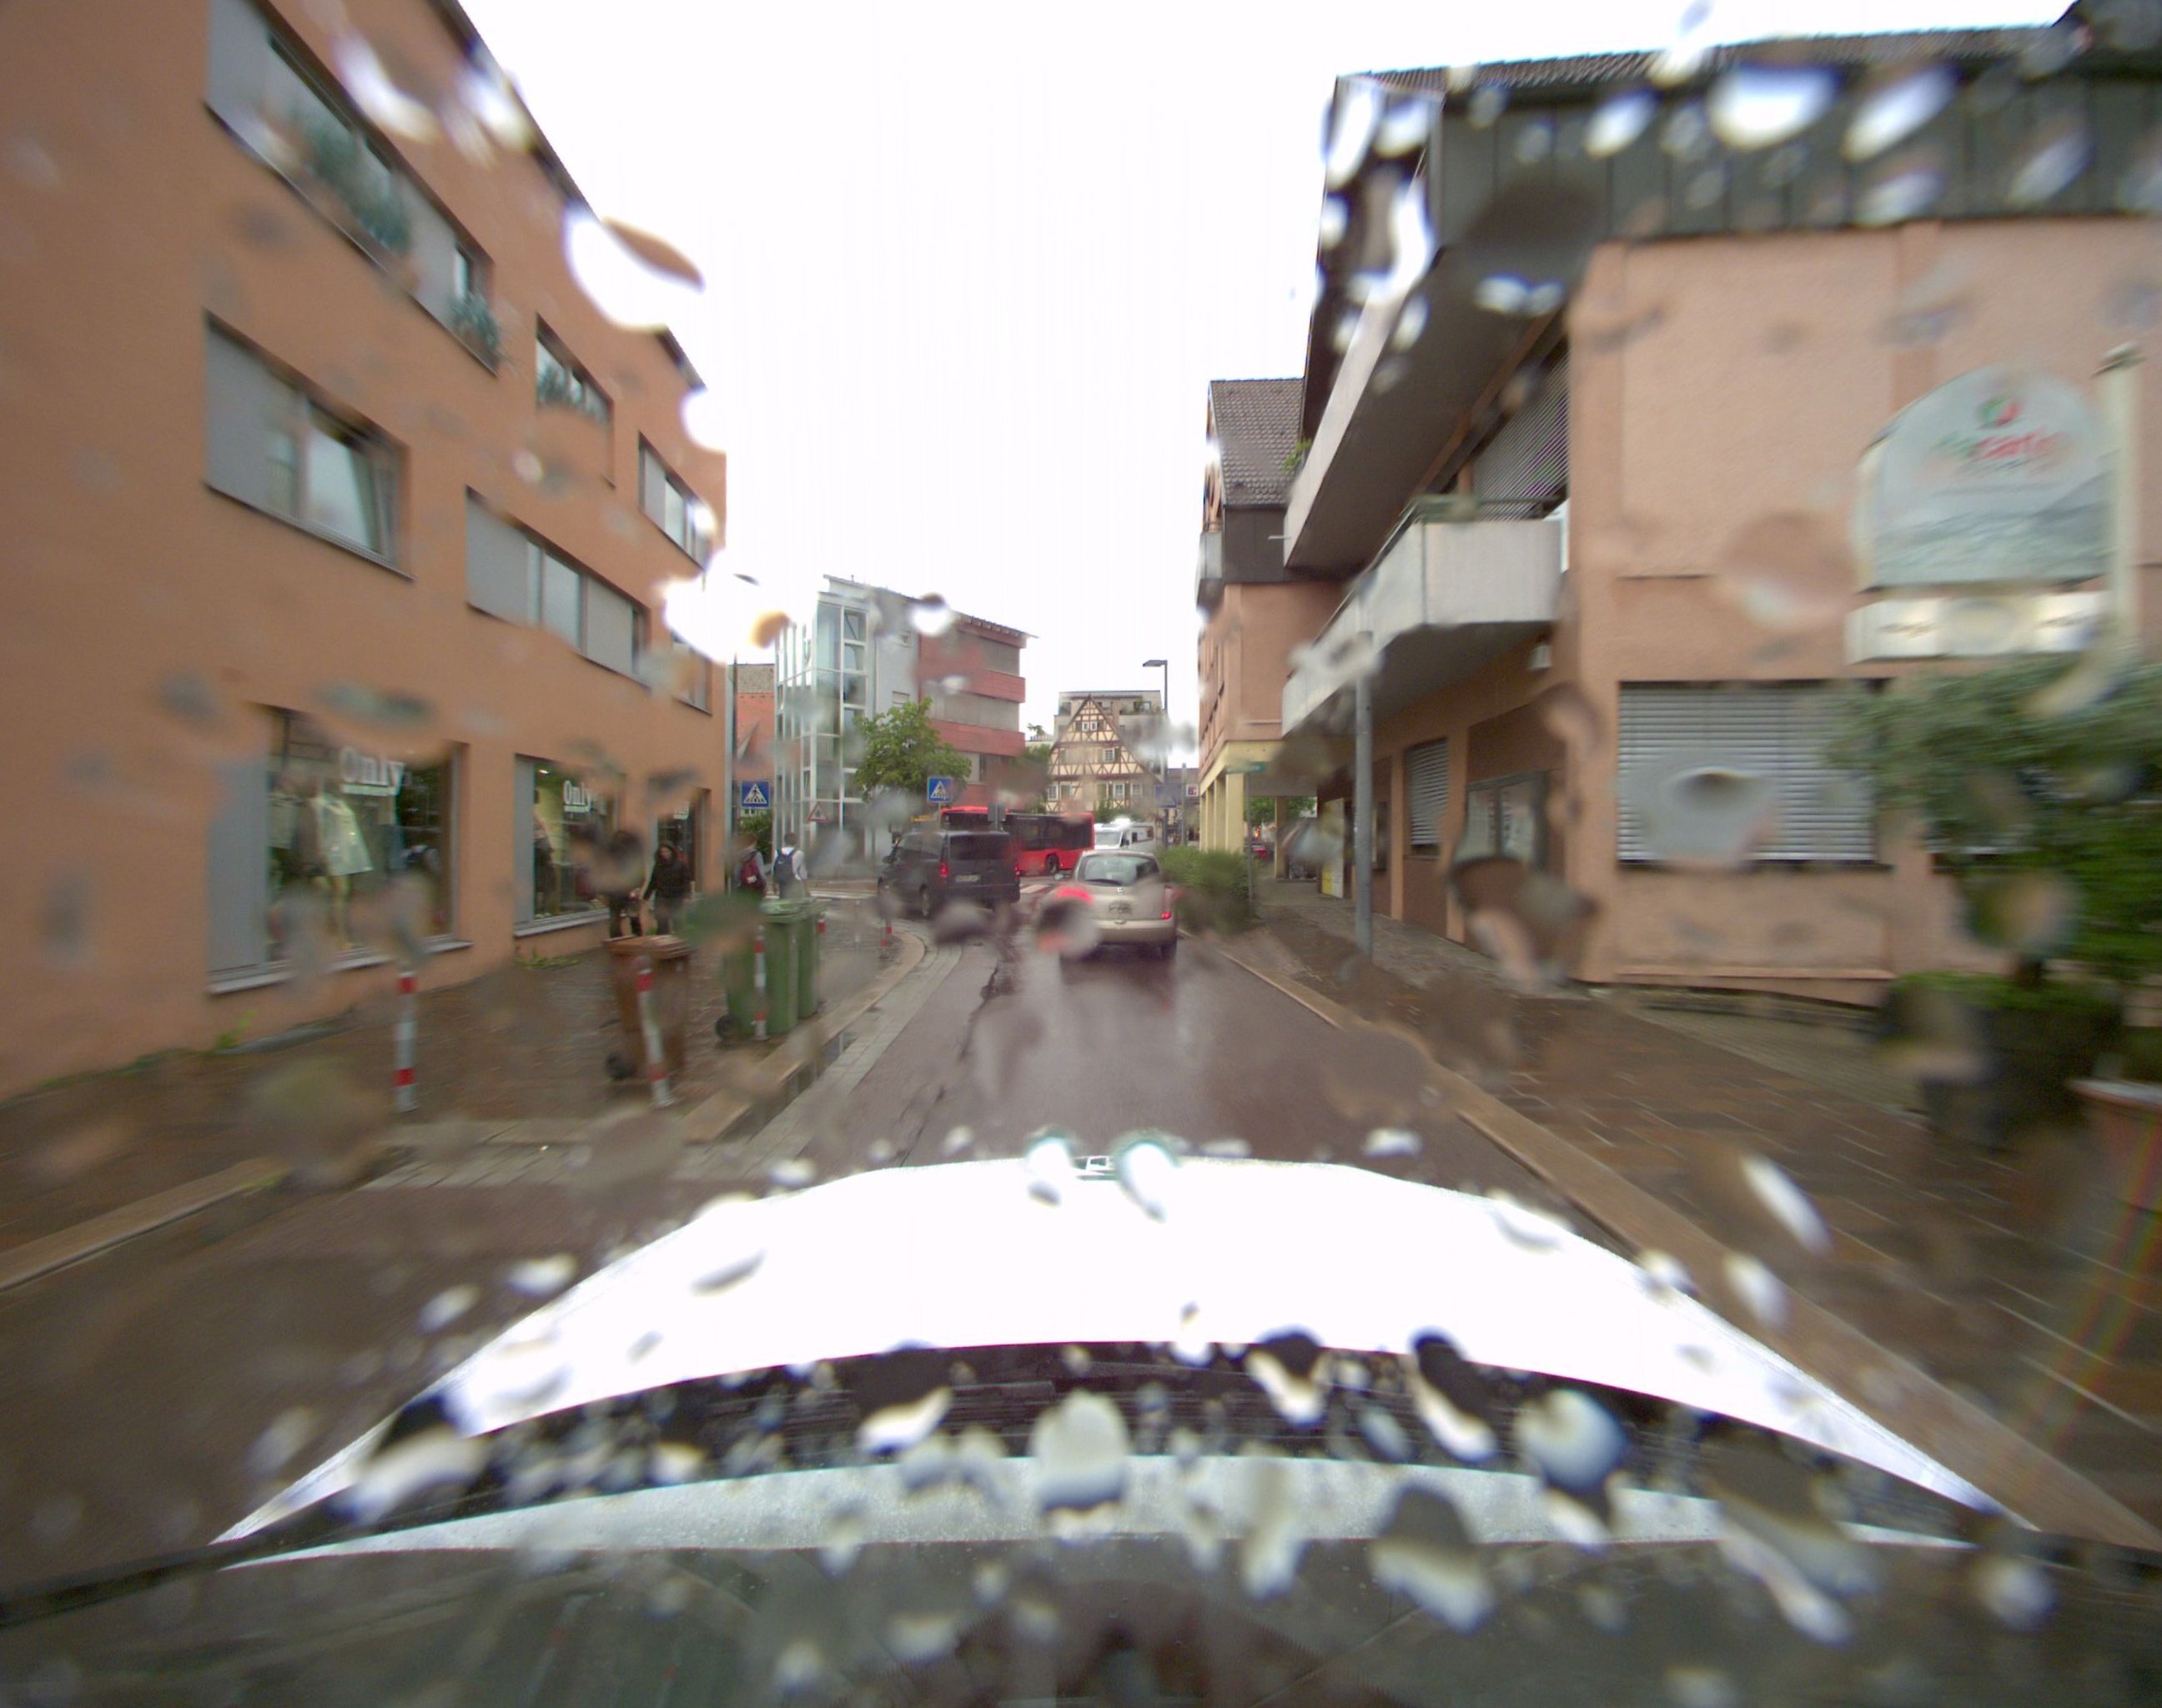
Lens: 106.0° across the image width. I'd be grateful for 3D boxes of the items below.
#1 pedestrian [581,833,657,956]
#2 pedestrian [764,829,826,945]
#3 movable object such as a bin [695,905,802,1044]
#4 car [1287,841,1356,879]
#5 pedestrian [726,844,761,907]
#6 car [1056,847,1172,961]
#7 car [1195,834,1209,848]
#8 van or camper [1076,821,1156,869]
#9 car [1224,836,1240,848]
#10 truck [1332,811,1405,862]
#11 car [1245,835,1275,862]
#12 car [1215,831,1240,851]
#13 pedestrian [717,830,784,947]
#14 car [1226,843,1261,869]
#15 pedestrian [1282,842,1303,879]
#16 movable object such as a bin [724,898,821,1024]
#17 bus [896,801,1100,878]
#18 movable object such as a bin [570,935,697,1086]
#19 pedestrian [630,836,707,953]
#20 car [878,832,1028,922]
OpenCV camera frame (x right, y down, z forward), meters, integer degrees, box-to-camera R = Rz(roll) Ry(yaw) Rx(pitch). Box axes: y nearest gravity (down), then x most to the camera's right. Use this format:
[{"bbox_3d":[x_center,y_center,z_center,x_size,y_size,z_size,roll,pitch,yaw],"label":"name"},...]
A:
[{"bbox_3d":[-6.658,0.565,11.780,0.621,1.712,0.808,1,0,-4],"label":"pedestrian"},{"bbox_3d":[-4.640,0.511,13.271,0.662,1.806,1.060,0,0,-4],"label":"pedestrian"},{"bbox_3d":[-2.717,0.965,6.703,0.655,1.036,0.609,0,0,-6],"label":"movable object such as a bin"},{"bbox_3d":[8.798,0.185,30.112,1.753,1.276,4.480,0,0,7],"label":"car"},{"bbox_3d":[-8.756,0.533,21.167,0.659,1.610,0.682,0,1,-7],"label":"pedestrian"},{"bbox_3d":[0.422,0.648,12.438,1.517,1.470,3.340,0,1,-1],"label":"car"},{"bbox_3d":[15.690,-1.672,105.251,1.576,1.712,3.332,0,1,12],"label":"car"},{"bbox_3d":[2.154,-0.532,47.092,2.416,2.585,6.788,1,1,23],"label":"van or camper"},{"bbox_3d":[19.367,-1.570,104.754,1.886,1.508,3.918,0,0,8],"label":"car"},{"bbox_3d":[10.812,-0.637,30.872,1.753,1.808,4.007,0,0,6],"label":"truck"},{"bbox_3d":[11.017,-0.340,50.280,1.613,1.500,4.013,-3,0,11],"label":"car"},{"bbox_3d":[11.844,-1.024,65.993,1.886,1.574,4.009,0,0,8],"label":"car"},{"bbox_3d":[-5.280,0.528,13.070,0.691,1.800,1.056,0,0,-5],"label":"pedestrian"},{"bbox_3d":[9.131,0.079,45.606,1.524,1.362,3.389,0,1,18],"label":"car"},{"bbox_3d":[9.843,0.297,37.928,0.689,1.661,0.826,0,0,36],"label":"pedestrian"},{"bbox_3d":[-2.777,0.940,7.383,0.655,1.036,0.609,-1,1,-6],"label":"movable object such as a bin"},{"bbox_3d":[-3.444,-0.715,37.736,2.786,3.088,10.675,2,2,38],"label":"bus"},{"bbox_3d":[-3.030,1.042,5.550,0.579,0.927,0.482,0,0,4],"label":"movable object such as a bin"},{"bbox_3d":[-6.010,0.578,11.901,0.713,1.639,0.745,1,0,-4],"label":"pedestrian"},{"bbox_3d":[-3.104,0.434,18.790,1.958,1.781,4.683,0,1,-29],"label":"car"}]
